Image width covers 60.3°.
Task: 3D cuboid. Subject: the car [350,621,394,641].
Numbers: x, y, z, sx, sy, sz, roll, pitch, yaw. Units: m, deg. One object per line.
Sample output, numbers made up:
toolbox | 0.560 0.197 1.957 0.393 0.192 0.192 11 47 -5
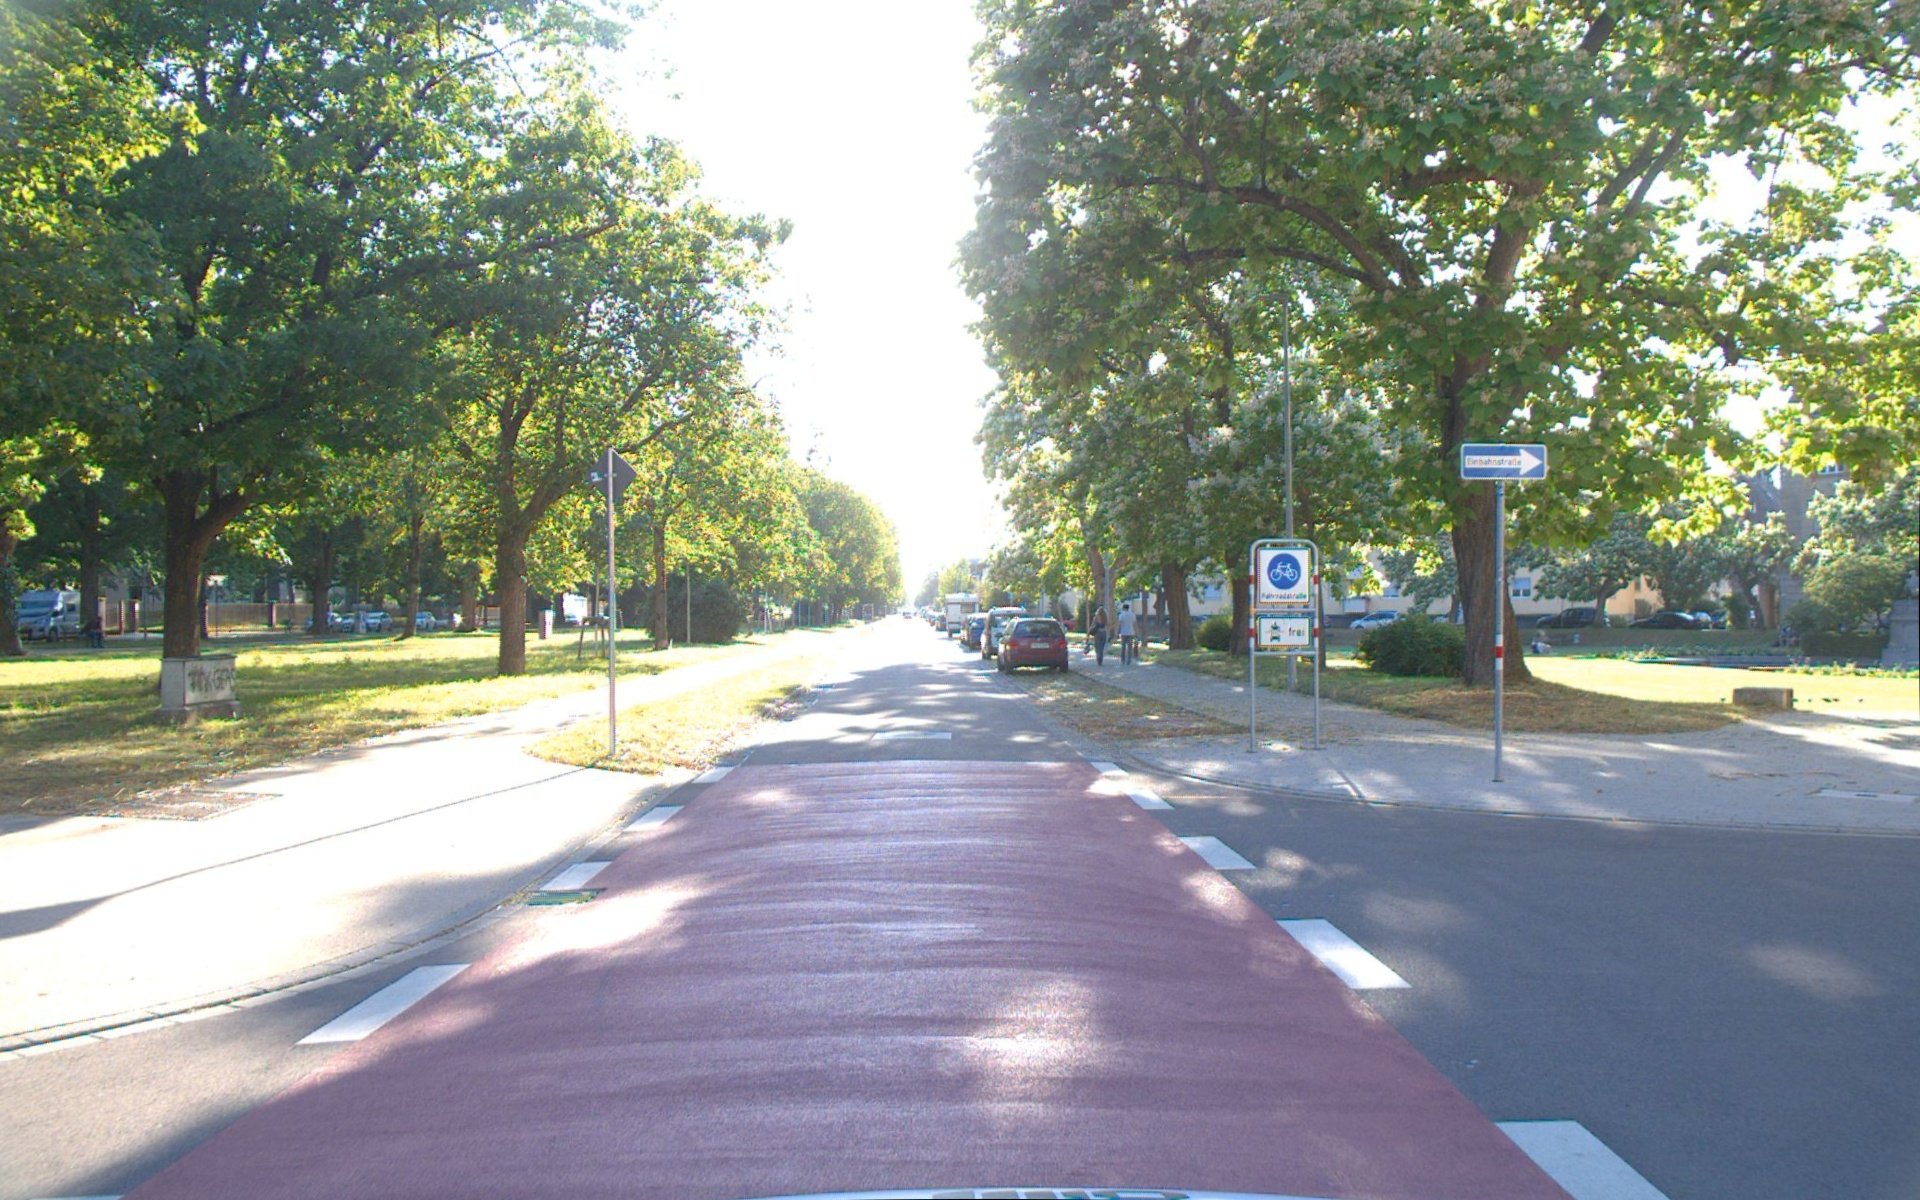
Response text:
car | -44.944 2.363 126.495 1.953 1.534 4.114 -1 -1 -1

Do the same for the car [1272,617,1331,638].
car | 26.998 2.188 130.880 4.416 1.597 1.881 -1 -1 17

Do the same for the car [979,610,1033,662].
car | 1.598 1.286 59.297 1.644 1.770 4.511 -1 -1 -2

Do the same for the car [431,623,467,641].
car | -45.384 2.845 147.006 1.953 1.534 4.114 -1 -1 -1

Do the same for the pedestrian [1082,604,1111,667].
pedestrian | 3.881 0.998 46.977 0.738 1.766 0.731 1 -1 -1

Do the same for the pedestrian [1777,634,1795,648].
pedestrian | 46.356 2.300 92.842 0.575 0.808 0.665 0 -1 -13

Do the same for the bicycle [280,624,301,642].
bicycle | -46.369 2.283 114.612 0.644 1.196 2.331 -1 -1 -4

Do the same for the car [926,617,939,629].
car | -3.488 2.847 207.218 1.594 1.434 4.247 -1 -1 -2

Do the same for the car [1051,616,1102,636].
car | 9.468 2.097 134.411 4.107 1.557 2.000 -1 -1 2

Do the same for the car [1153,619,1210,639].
car | 17.041 2.255 127.199 4.105 1.488 1.694 -1 -1 14

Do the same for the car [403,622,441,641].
car | -45.052 2.609 138.566 1.953 1.534 4.114 -1 -1 -1

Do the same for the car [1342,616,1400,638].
car | 30.413 2.021 122.501 3.908 1.579 1.609 -1 -1 26

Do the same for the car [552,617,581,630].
car | -48.206 2.903 202.636 2.456 1.534 4.911 -1 -1 -1

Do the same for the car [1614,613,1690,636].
car | 45.858 1.650 109.723 1.862 1.478 4.305 0 -1 -39

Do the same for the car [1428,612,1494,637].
car | 37.940 1.858 125.193 4.431 1.777 1.875 -1 -1 33

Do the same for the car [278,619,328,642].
car | -45.765 2.125 115.314 1.953 1.534 3.999 -1 -1 -1

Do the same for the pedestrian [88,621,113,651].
pedestrian | -28.972 1.217 55.740 0.537 1.004 0.609 -1 -1 -5

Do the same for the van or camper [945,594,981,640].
van or camper | 0.174 1.161 112.076 2.189 2.955 5.669 -1 -2 -2

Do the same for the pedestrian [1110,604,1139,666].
pedestrian | 4.667 0.988 46.979 0.710 1.766 0.731 1 -1 -1

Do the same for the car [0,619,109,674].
car | -43.745 2.227 79.487 2.666 2.507 6.314 -1 -1 -3

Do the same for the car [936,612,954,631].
car | -1.410 1.977 153.484 1.594 1.698 4.247 -1 -1 -2

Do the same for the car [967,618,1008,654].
car | 1.211 1.610 74.704 1.696 1.578 4.274 -1 -1 -1

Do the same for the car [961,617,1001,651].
car | 0.995 1.664 80.950 1.697 1.578 4.419 -1 -1 -3

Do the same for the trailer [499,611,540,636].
trailer | -45.789 2.451 172.113 2.409 2.532 7.047 -1 -1 -1

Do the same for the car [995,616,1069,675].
car | 1.934 1.224 45.408 1.644 1.512 4.807 -1 -1 -2
